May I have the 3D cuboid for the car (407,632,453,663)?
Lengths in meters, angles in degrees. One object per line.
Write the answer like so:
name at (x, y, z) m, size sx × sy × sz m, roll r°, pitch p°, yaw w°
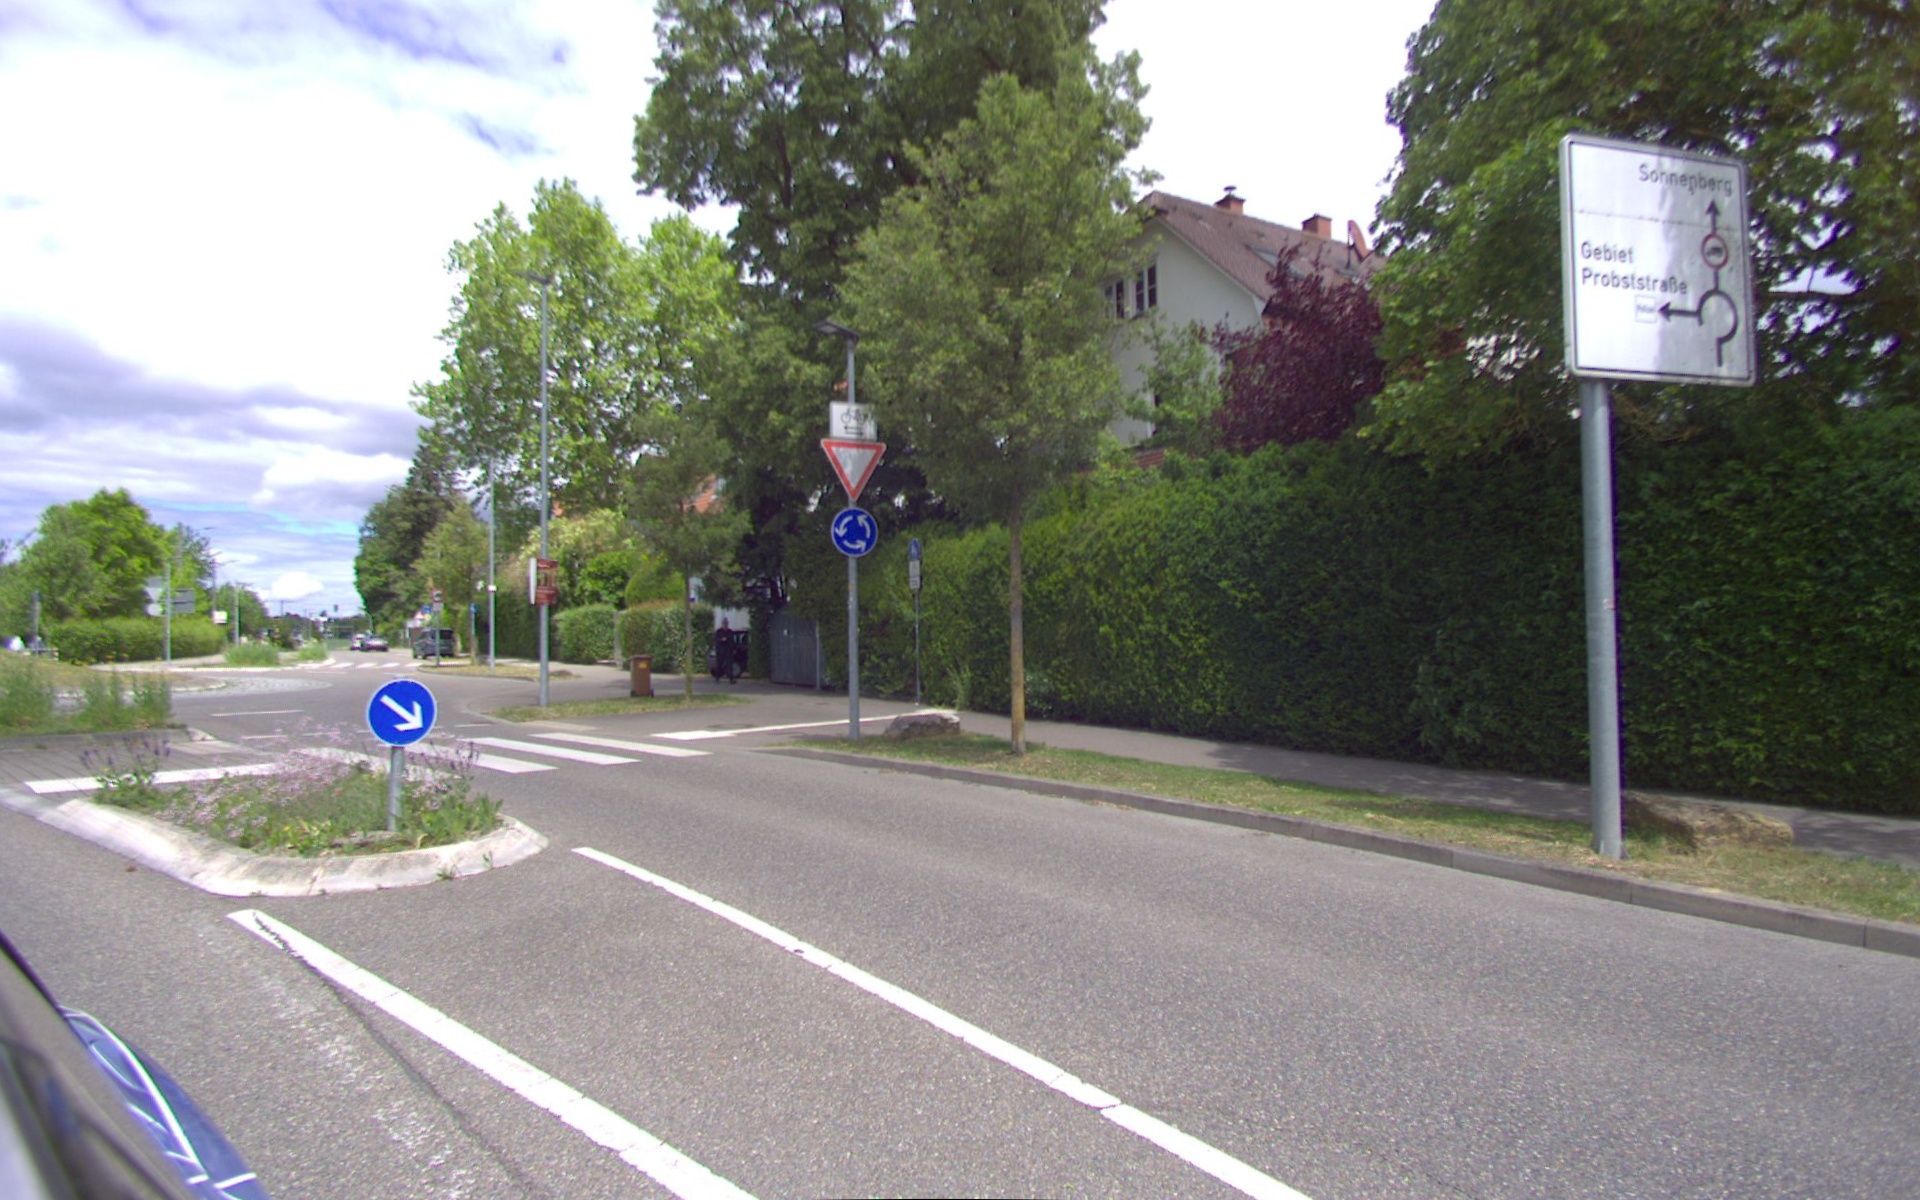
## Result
car at (-29.840, 2.638, 56.940) m, size 1.654 × 1.674 × 4.009 m, roll 1°, pitch -2°, yaw -37°

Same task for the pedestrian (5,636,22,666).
pedestrian at (-54.592, 2.910, 58.380) m, size 0.565 × 1.710 × 0.601 m, roll -2°, pitch -2°, yaw 33°

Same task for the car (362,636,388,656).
car at (-51.713, 4.049, 89.436) m, size 1.832 × 1.589 × 4.011 m, roll 0°, pitch -1°, yaw -33°

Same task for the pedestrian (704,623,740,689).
pedestrian at (-6.309, 1.460, 26.846) m, size 0.733 × 1.704 × 0.696 m, roll 0°, pitch -1°, yaw -32°

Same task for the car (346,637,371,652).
car at (-68.713, 5.107, 115.580) m, size 1.968 × 1.719 × 4.008 m, roll 2°, pitch -3°, yaw -38°

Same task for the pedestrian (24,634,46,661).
pedestrian at (-54.136, 2.773, 59.214) m, size 0.599 × 1.569 × 0.758 m, roll 0°, pitch -2°, yaw 26°

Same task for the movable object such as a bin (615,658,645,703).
movable object such as a bin at (-7.132, 1.727, 21.876) m, size 0.410 × 0.942 × 0.437 m, roll -1°, pitch -3°, yaw 29°

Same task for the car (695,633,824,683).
car at (-6.229, 1.823, 31.541) m, size 3.518 × 1.408 × 1.670 m, roll 4°, pitch -3°, yaw -33°
